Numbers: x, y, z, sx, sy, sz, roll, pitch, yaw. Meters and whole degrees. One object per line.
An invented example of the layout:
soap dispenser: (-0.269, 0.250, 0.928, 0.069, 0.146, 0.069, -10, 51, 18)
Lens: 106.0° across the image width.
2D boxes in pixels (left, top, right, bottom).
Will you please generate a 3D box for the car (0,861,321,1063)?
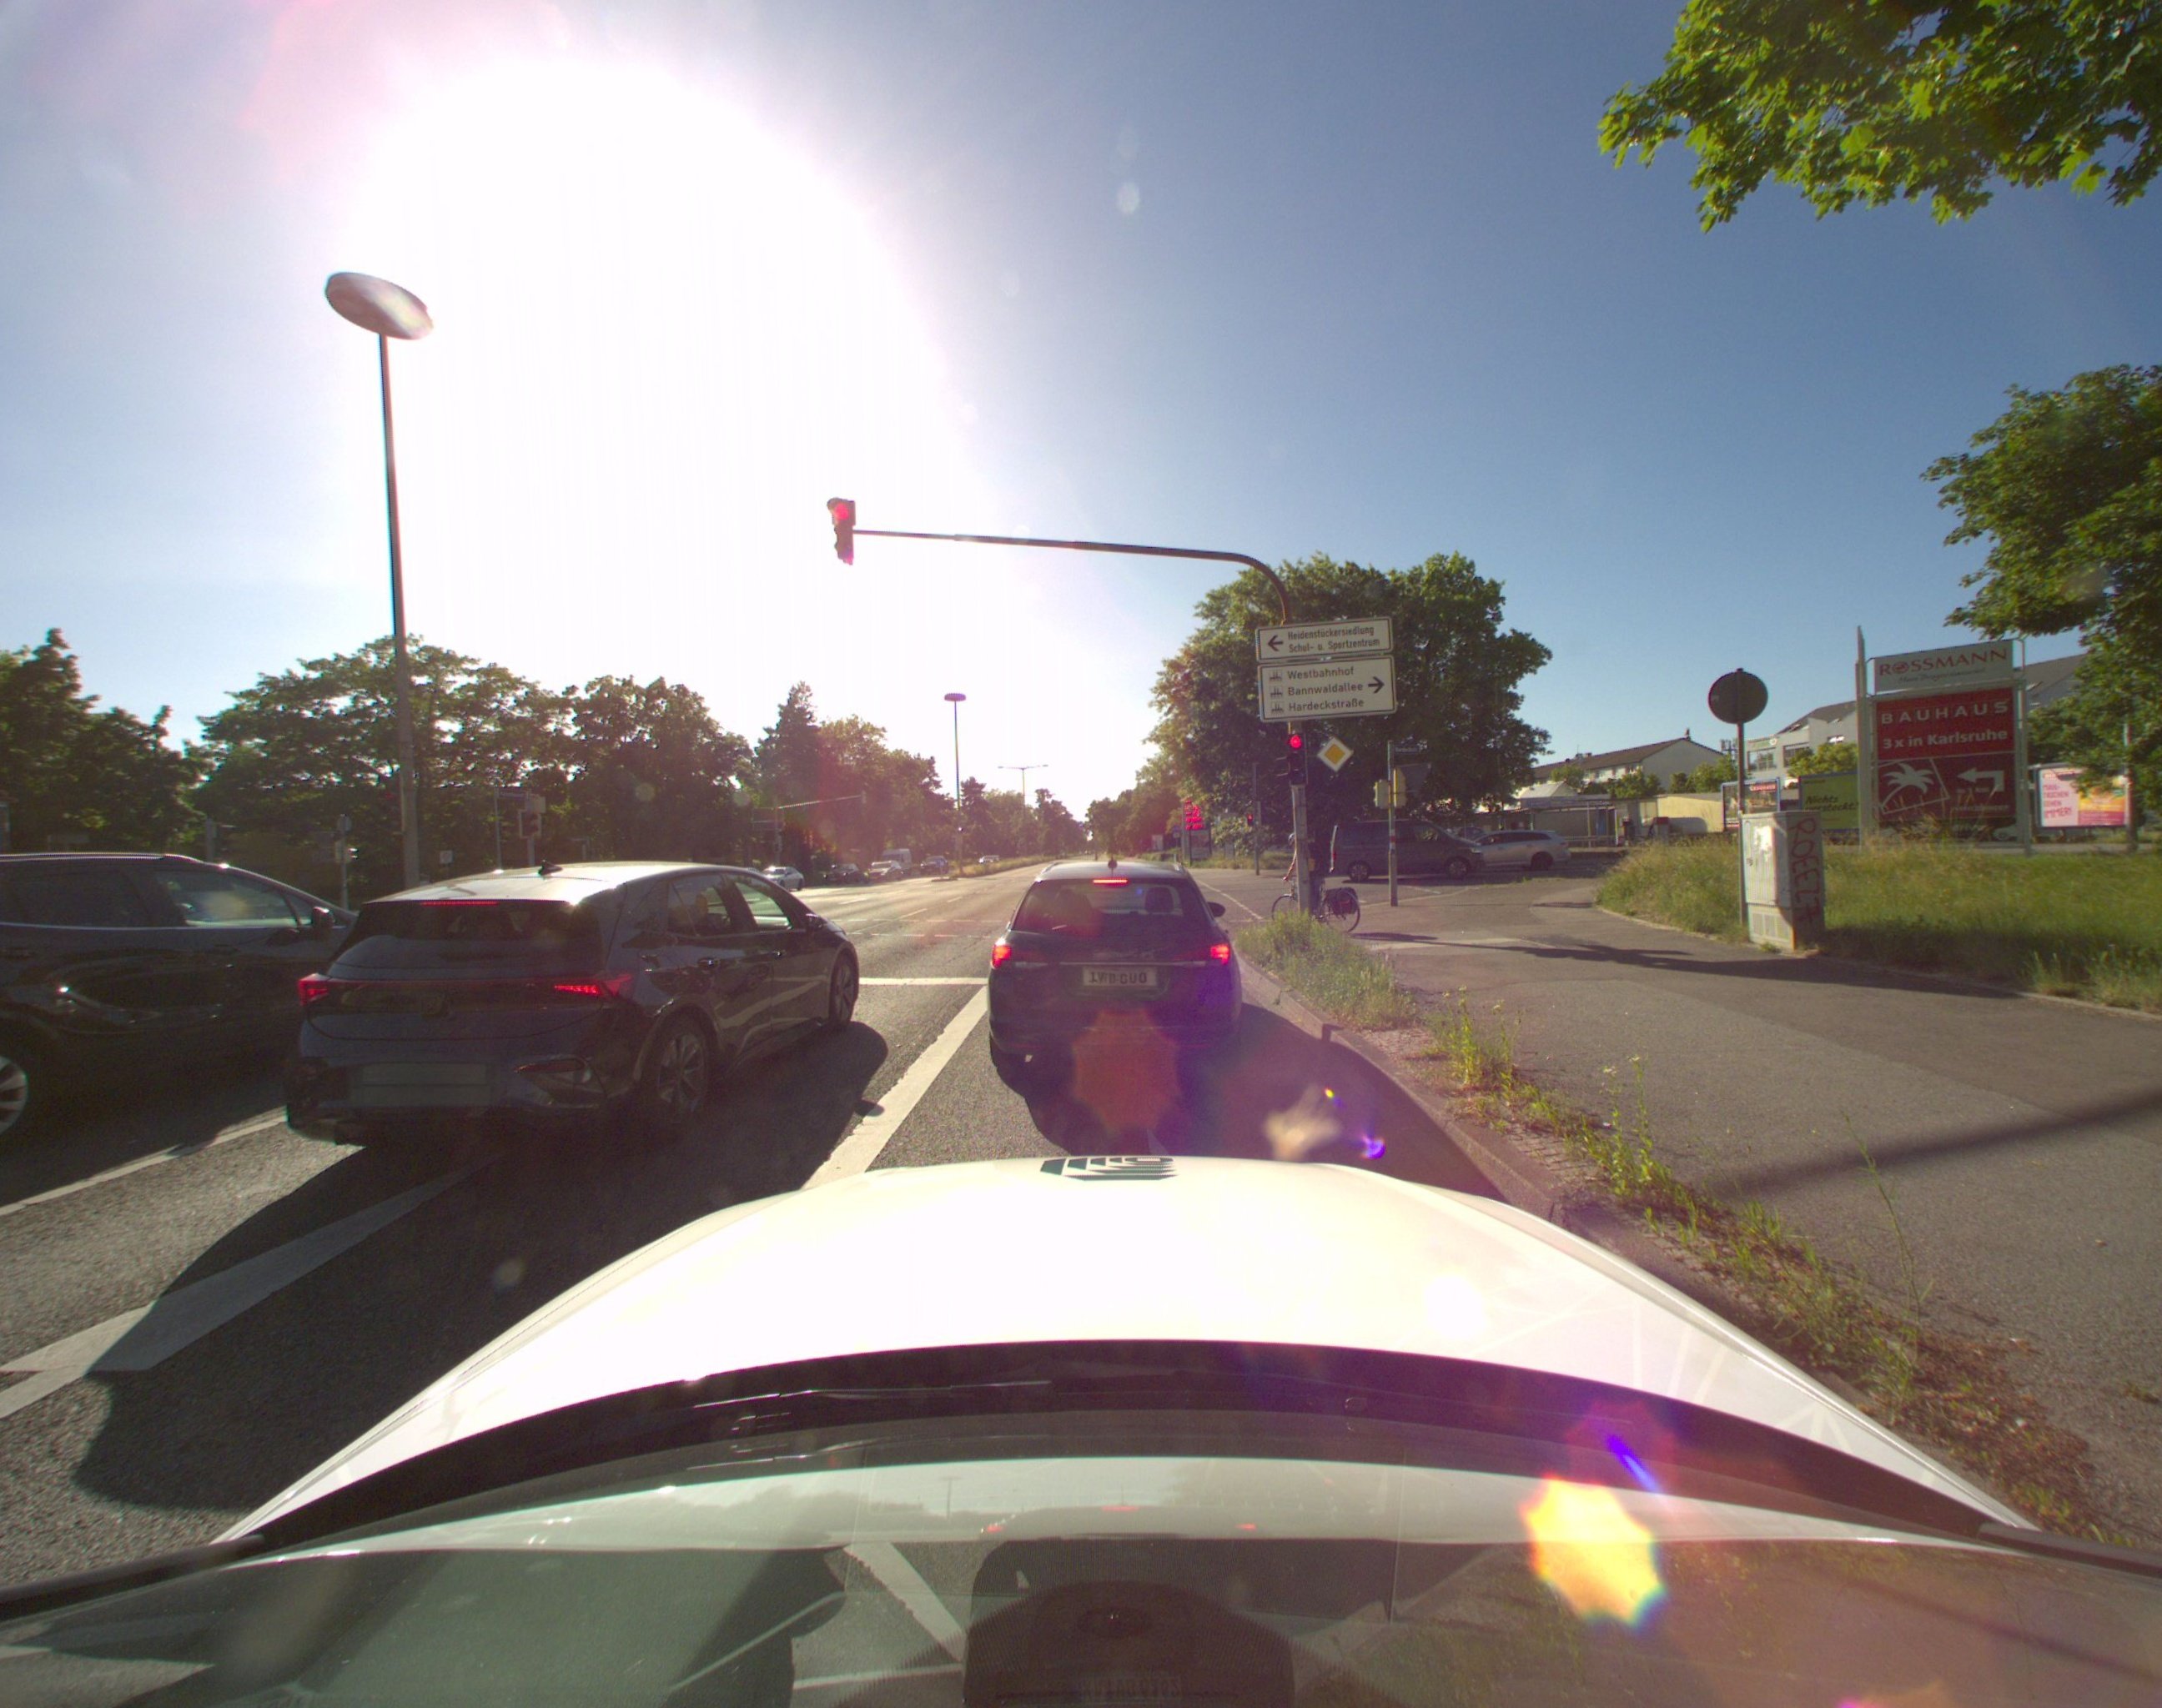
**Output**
car: (-10.219, 0.984, 7.921, 1.824, 1.702, 3.999, -3, 0, 0)

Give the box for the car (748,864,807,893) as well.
car: (-17.615, 1.409, 47.449, 1.635, 1.456, 4.223, -3, 0, 2)

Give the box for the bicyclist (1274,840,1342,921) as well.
bicyclist: (3.723, 0.442, 13.375, 0.541, 1.277, 0.819, -3, -2, -42)

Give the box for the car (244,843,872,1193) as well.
car: (-2.955, 0.769, 5.856, 1.678, 1.580, 4.208, -1, 0, 2)

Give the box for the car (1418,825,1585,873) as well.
car: (14.968, -0.170, 29.293, 4.969, 1.486, 2.007, -2, 0, 13)

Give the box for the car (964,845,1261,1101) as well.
car: (0.253, 0.722, 6.965, 1.750, 1.495, 4.208, -1, 0, 2)

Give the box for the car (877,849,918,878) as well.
car: (-16.848, 0.811, 75.023, 2.092, 2.492, 6.006, -3, 0, 2)

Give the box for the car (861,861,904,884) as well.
car: (-14.025, 1.293, 57.813, 1.680, 1.433, 4.617, -3, 0, 2)

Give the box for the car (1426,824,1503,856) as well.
car: (22.382, -0.818, 47.526, 4.002, 1.680, 1.733, -3, 0, -21)

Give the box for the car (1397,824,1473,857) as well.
car: (21.461, -0.818, 49.397, 4.003, 1.750, 1.985, -3, 0, -22)

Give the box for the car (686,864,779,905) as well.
car: (-14.947, 1.256, 35.197, 1.881, 1.524, 4.506, -3, 0, 2)

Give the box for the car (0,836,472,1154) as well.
car: (-6.615, 0.784, 5.519, 1.798, 1.689, 4.002, -3, 0, 2)

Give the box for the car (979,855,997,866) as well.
car: (-12.804, 0.900, 111.905, 1.769, 1.463, 4.166, -3, 0, 2)

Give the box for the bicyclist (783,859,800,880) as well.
bicyclist: (-23.070, 1.221, 64.888, 0.873, 1.648, 1.198, -3, 0, -3)

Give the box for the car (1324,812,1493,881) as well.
car: (10.754, -0.227, 27.058, 4.957, 1.992, 1.927, -3, 0, 20)

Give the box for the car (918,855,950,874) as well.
car: (-13.609, 0.957, 75.587, 1.986, 1.601, 4.617, -3, 0, 2)

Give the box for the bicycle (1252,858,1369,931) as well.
bicycle: (3.736, 0.684, 13.372, 0.541, 1.097, 1.755, -3, -2, -42)

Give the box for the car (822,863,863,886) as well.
car: (-17.652, 1.495, 60.554, 1.680, 1.509, 4.005, -3, 0, 2)
